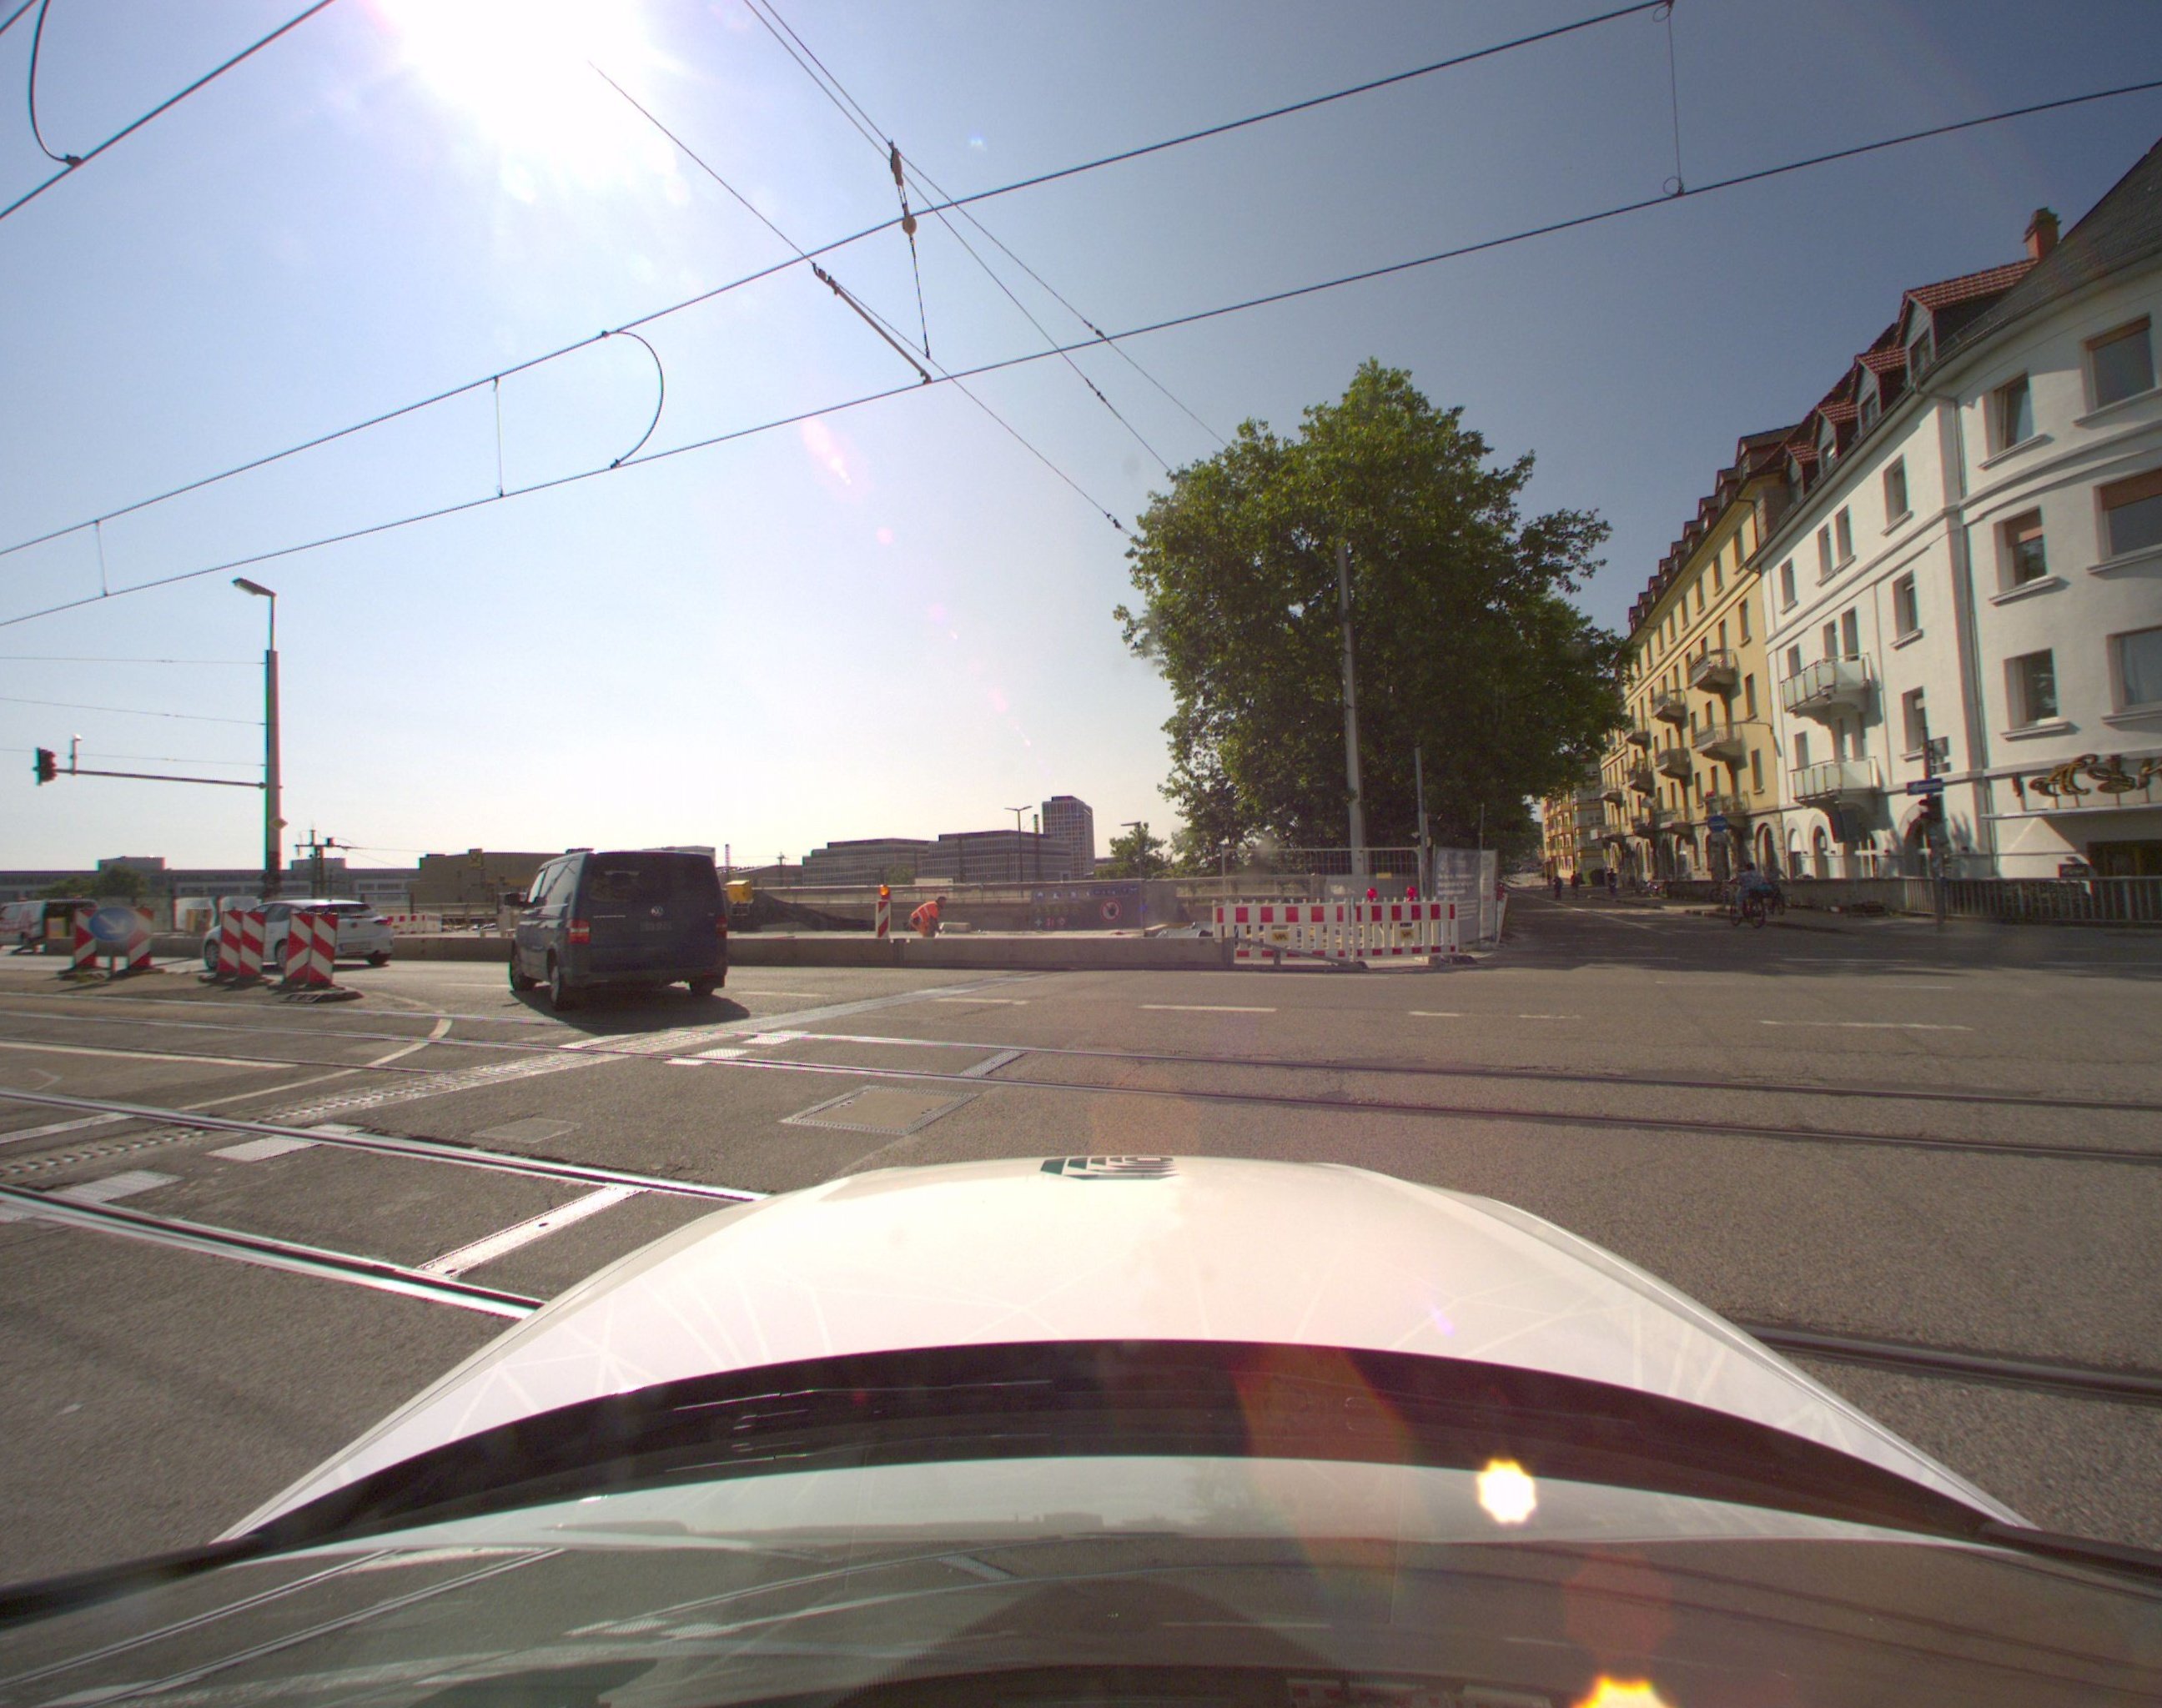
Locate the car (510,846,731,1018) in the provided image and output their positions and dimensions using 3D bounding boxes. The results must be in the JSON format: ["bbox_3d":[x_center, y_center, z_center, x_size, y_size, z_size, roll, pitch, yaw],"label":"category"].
[{"bbox_3d":[-6.506,0.930,11.282,1.831,1.905,4.005,-2,-1,-41],"label":"car"}]

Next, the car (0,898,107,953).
[{"bbox_3d":[-42.390,2.926,33.242,4.832,2.034,1.894,-3,-3,22],"label":"car"}]

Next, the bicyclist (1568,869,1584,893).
[{"bbox_3d":[32.808,1.782,54.003,0.829,1.538,1.030,-2,-2,29],"label":"bicyclist"}]

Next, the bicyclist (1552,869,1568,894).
[{"bbox_3d":[30.958,1.773,52.616,0.829,1.538,1.030,-2,-2,29],"label":"bicyclist"}]

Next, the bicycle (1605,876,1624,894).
[{"bbox_3d":[35.633,2.033,54.397,0.829,1.137,2.876,-2,-2,29],"label":"bicycle"}]

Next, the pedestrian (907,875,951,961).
[{"bbox_3d":[-3.352,1.387,17.952,0.861,1.795,0.819,-2,0,-10],"label":"pedestrian"}]

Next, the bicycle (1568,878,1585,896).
[{"bbox_3d":[32.840,2.189,54.010,0.829,1.137,2.876,-2,-2,29],"label":"bicycle"}]

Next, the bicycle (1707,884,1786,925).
[{"bbox_3d":[17.570,1.303,21.578,0.858,0.990,2.257,-2,-2,19],"label":"bicycle"}]

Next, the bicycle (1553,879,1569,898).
[{"bbox_3d":[30.933,2.200,52.515,0.829,1.137,2.876,-2,-2,29],"label":"bicycle"}]

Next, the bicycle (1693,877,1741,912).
[{"bbox_3d":[22.080,1.386,28.326,0.829,1.137,2.876,-2,-2,29],"label":"bicycle"}]

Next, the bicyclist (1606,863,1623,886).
[{"bbox_3d":[35.541,1.377,54.287,0.829,1.538,1.030,-2,-2,29],"label":"bicyclist"}]

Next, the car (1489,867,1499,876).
[{"bbox_3d":[82.983,3.536,163.681,1.611,1.623,3.717,-2,-1,25],"label":"car"}]

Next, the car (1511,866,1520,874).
[{"bbox_3d":[104.443,3.842,195.655,1.611,1.623,3.717,-2,-1,25],"label":"car"}]

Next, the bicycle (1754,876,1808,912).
[{"bbox_3d":[21.541,1.221,25.096,0.701,0.991,1.830,-5,-2,24],"label":"bicycle"}]

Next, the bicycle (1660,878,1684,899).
[{"bbox_3d":[32.437,1.894,44.711,0.674,1.075,2.306,-3,-2,27],"label":"bicycle"}]

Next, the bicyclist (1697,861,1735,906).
[{"bbox_3d":[22.010,1.023,28.260,0.829,1.508,0.958,-2,-2,29],"label":"bicyclist"}]

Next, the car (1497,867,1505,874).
[{"bbox_3d":[101.425,4.058,196.753,1.611,1.623,3.717,-2,-1,25],"label":"car"}]

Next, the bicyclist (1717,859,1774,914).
[{"bbox_3d":[17.525,0.859,21.500,0.858,1.415,0.921,-2,-2,19],"label":"bicyclist"}]

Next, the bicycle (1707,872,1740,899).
[{"bbox_3d":[27.922,1.353,35.417,0.674,1.075,2.306,-3,-2,27],"label":"bicycle"}]

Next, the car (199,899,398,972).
[{"bbox_3d":[-16.701,1.708,17.422,3.372,1.405,1.731,-2,-2,20],"label":"car"}]

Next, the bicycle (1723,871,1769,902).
[{"bbox_3d":[25.913,1.262,31.789,0.829,1.137,2.876,-2,-2,29],"label":"bicycle"}]

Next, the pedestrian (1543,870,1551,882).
[{"bbox_3d":[77.221,3.589,134.936,1.010,1.936,0.845,-3,-3,34],"label":"pedestrian"}]

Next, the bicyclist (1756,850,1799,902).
[{"bbox_3d":[21.545,0.666,25.213,0.701,1.550,0.789,-5,-2,23],"label":"bicyclist"}]
